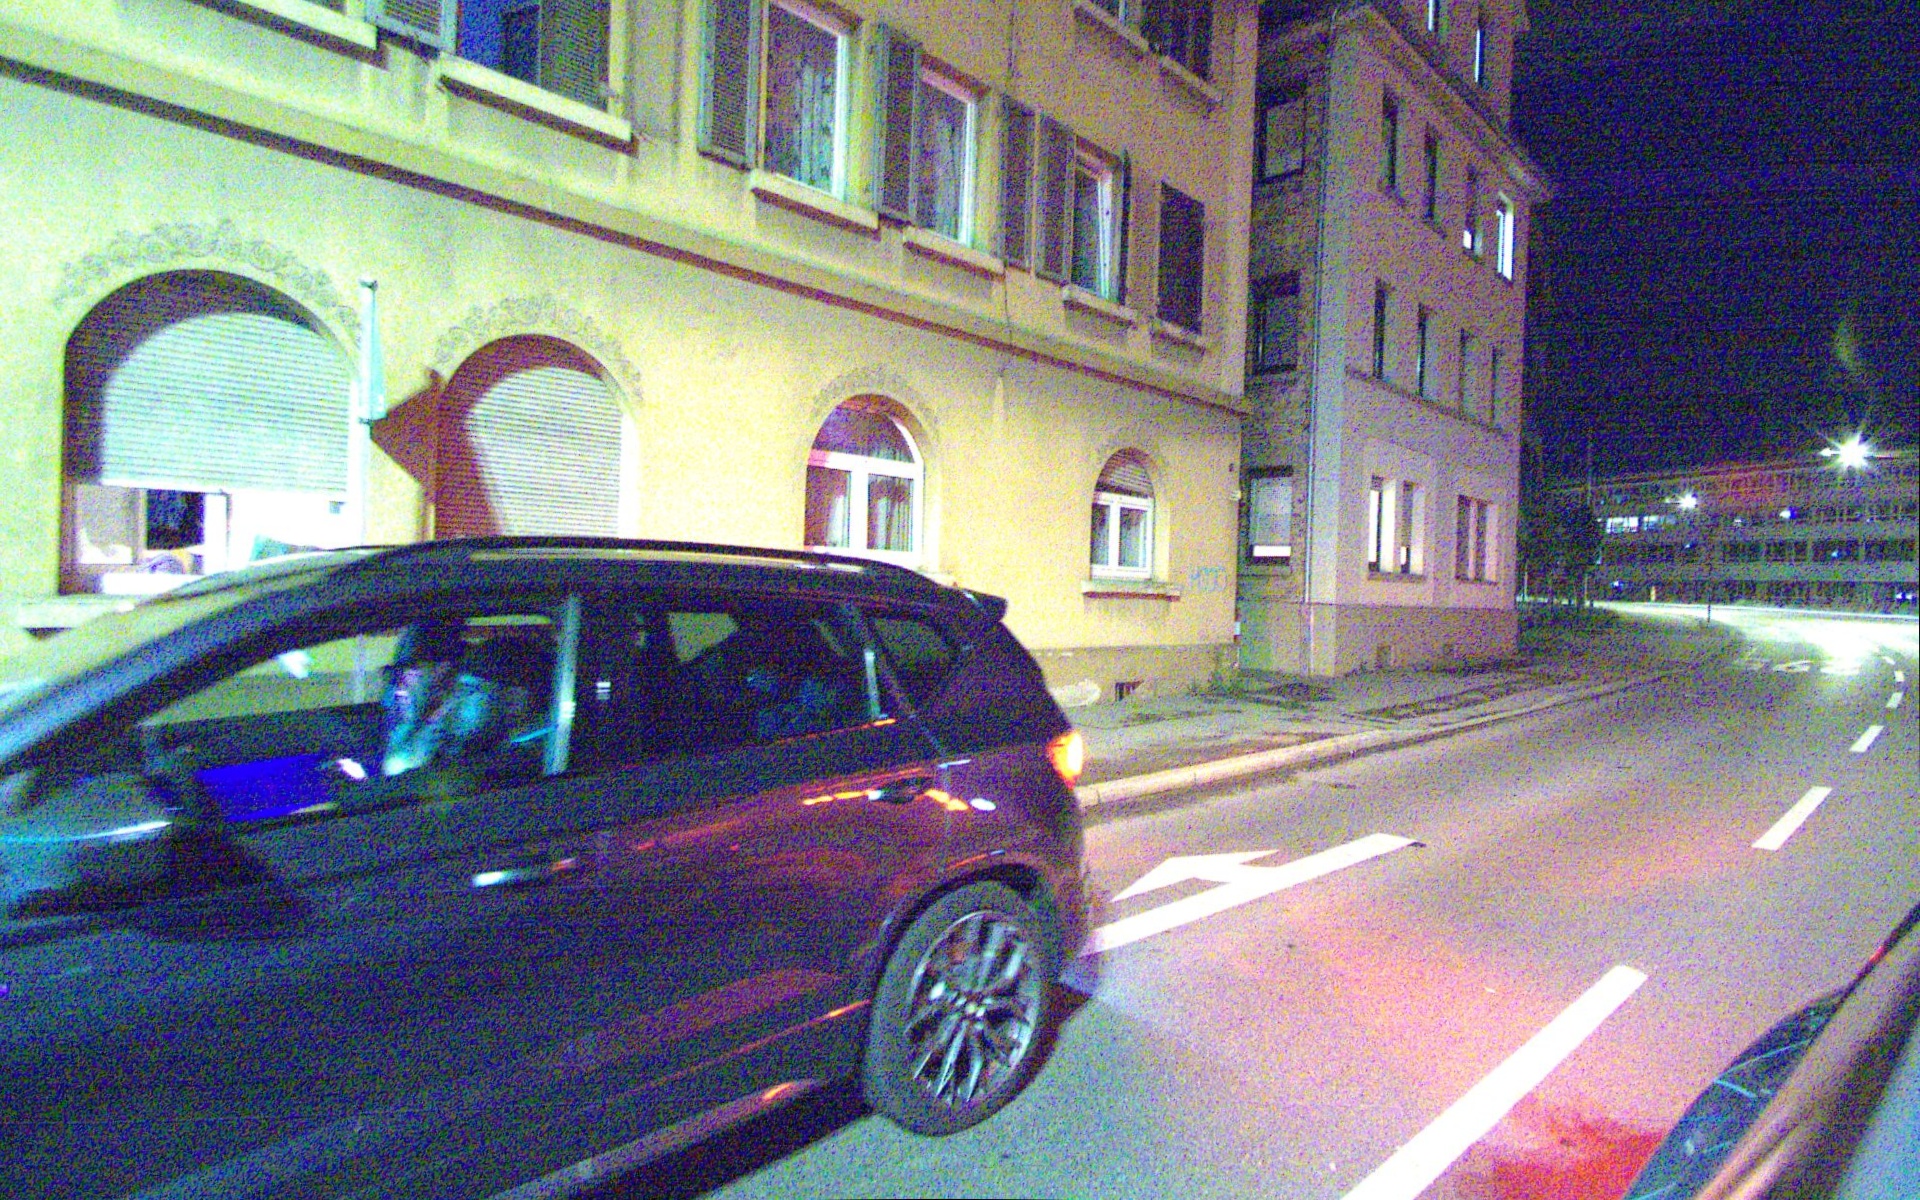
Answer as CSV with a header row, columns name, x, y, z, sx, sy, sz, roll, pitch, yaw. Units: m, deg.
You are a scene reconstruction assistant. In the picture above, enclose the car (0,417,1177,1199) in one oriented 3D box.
name,x,y,z,sx,sy,sz,roll,pitch,yaw
car,-1.350,0.534,2.526,4.159,1.630,1.672,-2,2,-44
